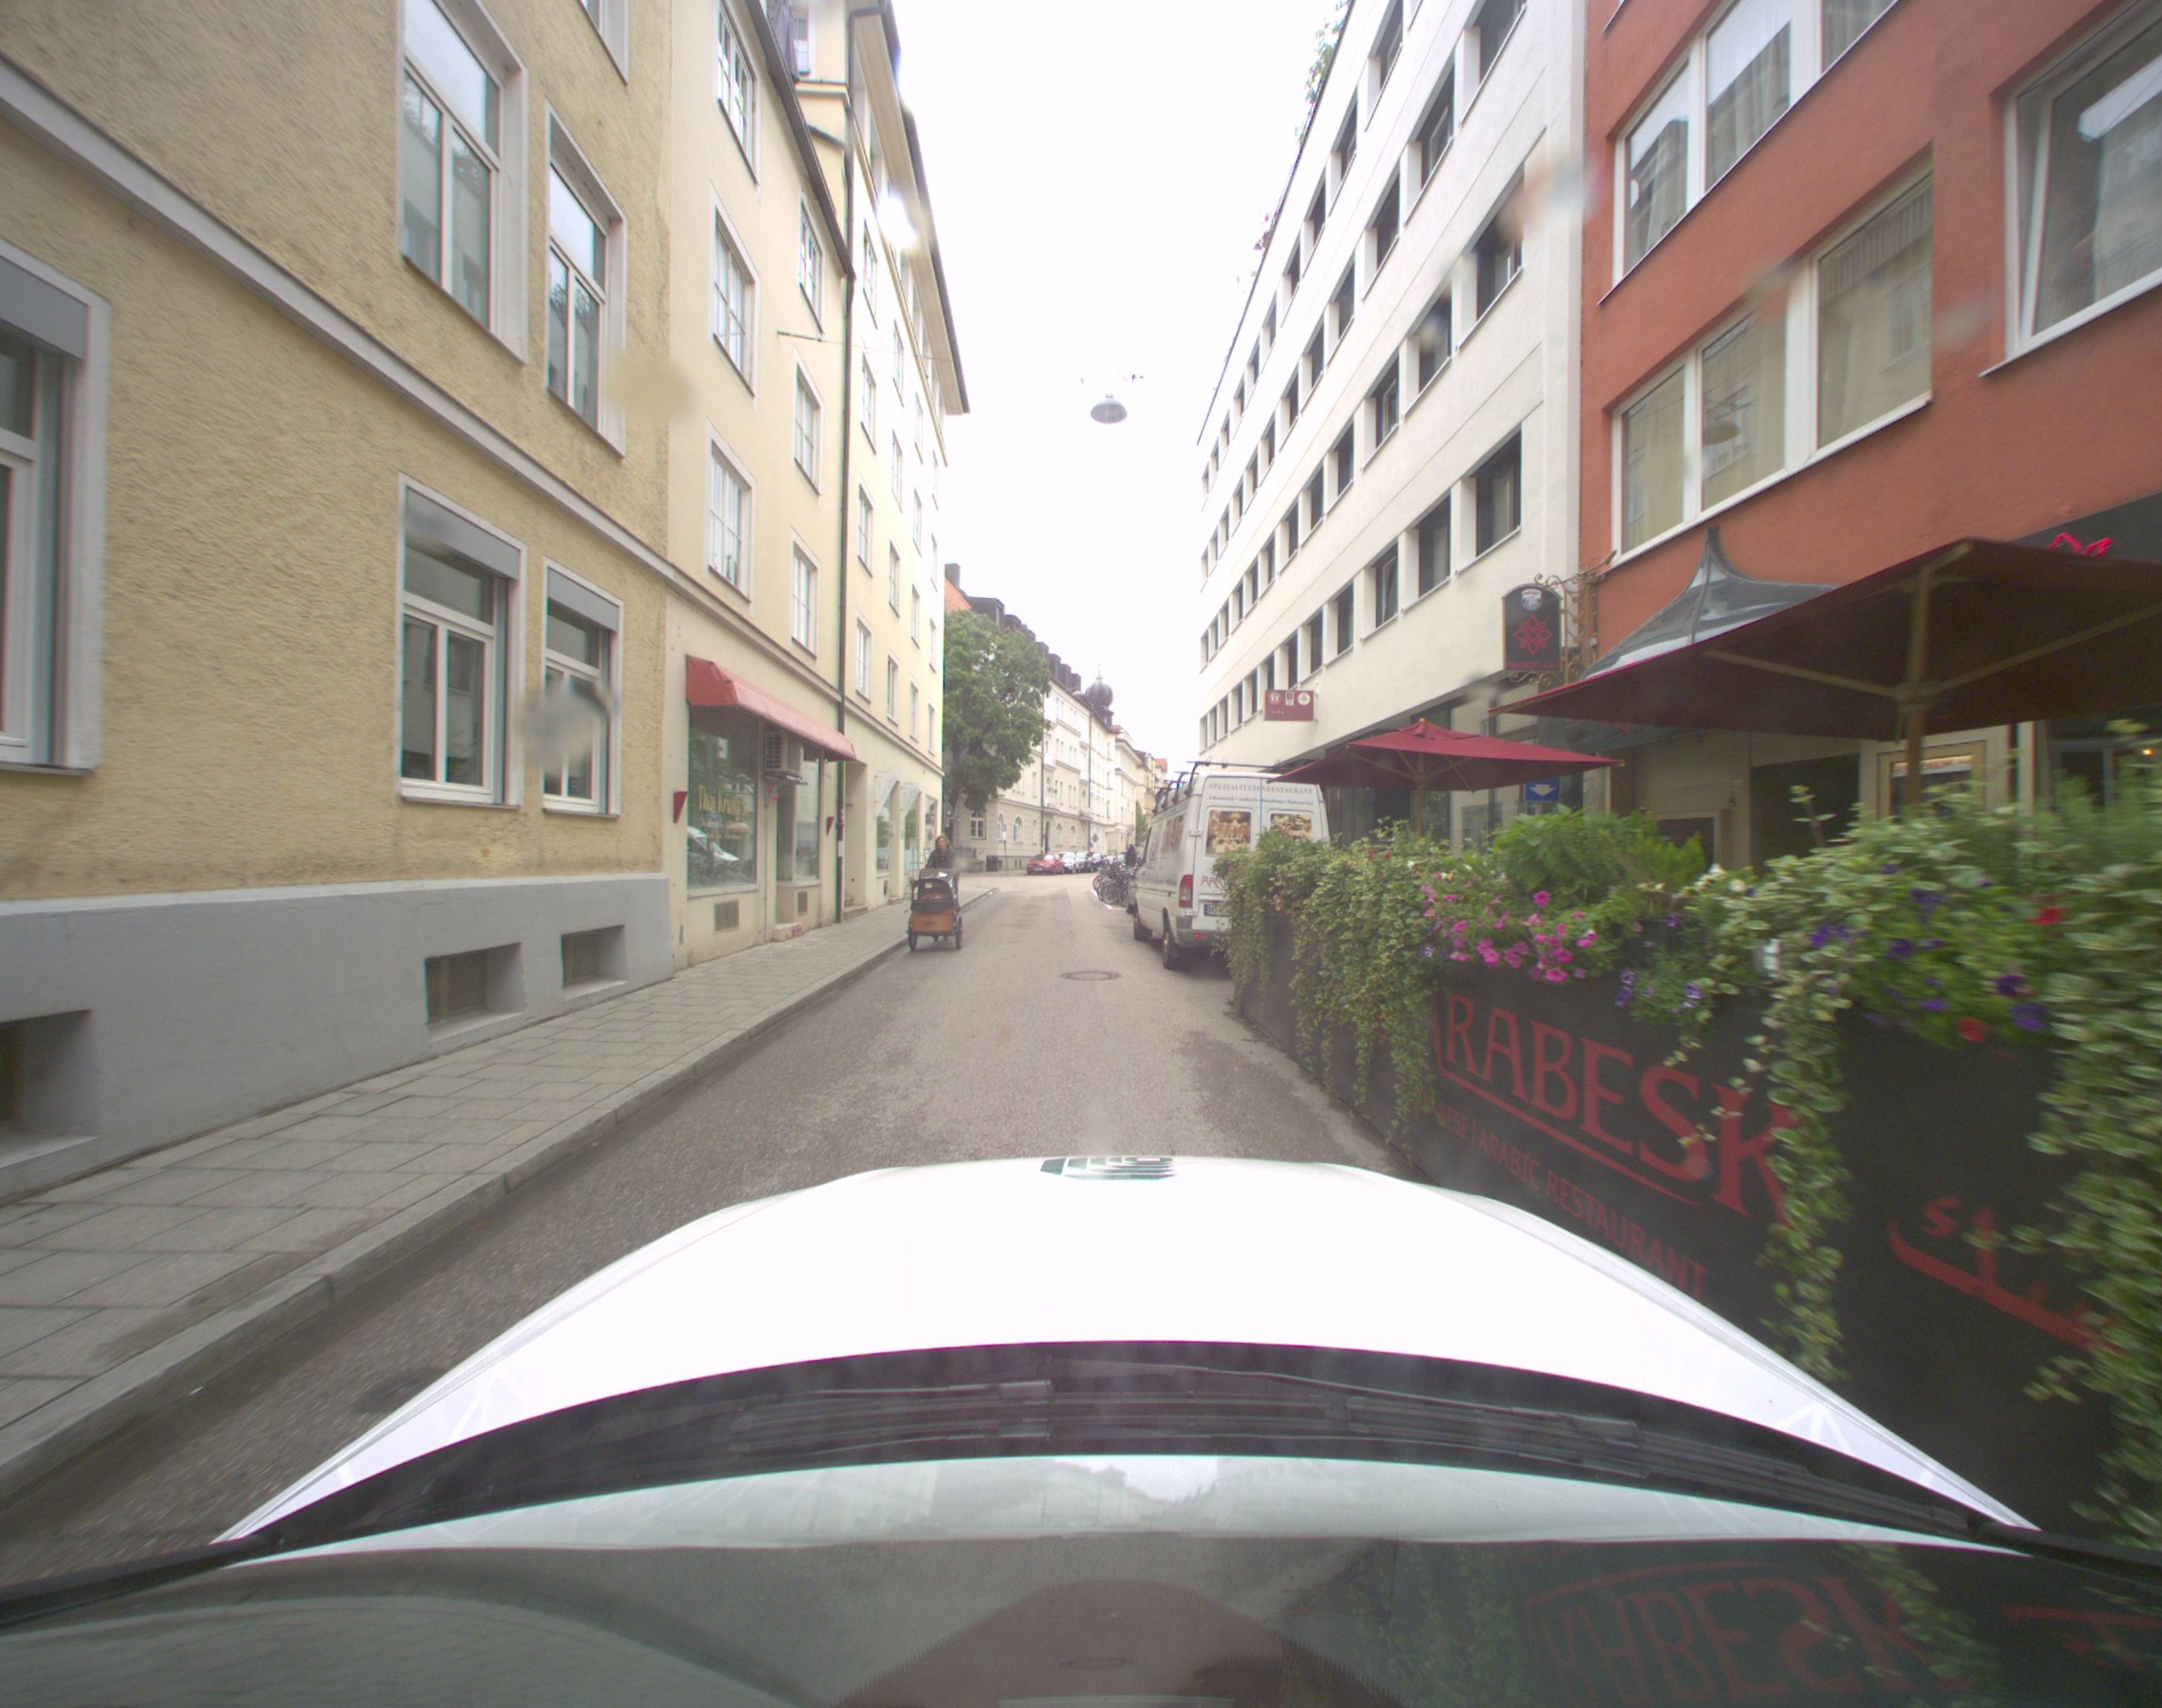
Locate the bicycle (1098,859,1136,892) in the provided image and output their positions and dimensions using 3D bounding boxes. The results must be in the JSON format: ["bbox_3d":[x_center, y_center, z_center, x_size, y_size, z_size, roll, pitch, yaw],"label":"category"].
[{"bbox_3d":[1.415,0.838,32.383,1.452,1.285,0.445,1,0,-1],"label":"bicycle"}]

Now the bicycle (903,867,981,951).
[{"bbox_3d":[-2.293,0.863,13.733,0.929,1.257,2.412,-1,-1,-1],"label":"bicycle"}]

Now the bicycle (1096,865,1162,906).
[{"bbox_3d":[1.411,0.932,23.954,1.870,1.108,0.488,2,1,-4],"label":"bicycle"}]

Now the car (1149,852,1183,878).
[{"bbox_3d":[5.828,0.710,55.573,1.808,1.636,4.303,3,0,12],"label":"car"}]

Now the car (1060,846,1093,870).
[{"bbox_3d":[-0.311,0.290,61.823,1.932,1.702,4.009,1,0,8],"label":"car"}]

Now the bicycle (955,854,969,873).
[{"bbox_3d":[-7.388,0.586,50.803,0.491,1.052,1.829,1,2,4],"label":"bicycle"}]

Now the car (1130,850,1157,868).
[{"bbox_3d":[5.778,0.465,75.099,1.945,1.607,4.322,0,0,11],"label":"car"}]

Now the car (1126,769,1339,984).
[{"bbox_3d":[1.974,0.264,12.695,1.916,2.506,5.991,2,0,-3],"label":"car"}]

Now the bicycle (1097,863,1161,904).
[{"bbox_3d":[1.424,0.878,24.475,1.870,1.204,0.488,1,1,-4],"label":"bicycle"}]

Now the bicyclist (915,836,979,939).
[{"bbox_3d":[-2.310,0.554,14.195,0.924,1.721,1.099,-1,0,-1],"label":"bicyclist"}]

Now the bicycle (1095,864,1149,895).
[{"bbox_3d":[1.450,0.904,28.901,1.871,1.079,0.407,1,1,-6],"label":"bicycle"}]

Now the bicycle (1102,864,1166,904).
[{"bbox_3d":[1.628,0.918,25.166,1.870,1.157,0.564,2,1,-4],"label":"bicycle"}]

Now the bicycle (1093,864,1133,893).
[{"bbox_3d":[1.236,0.950,31.367,1.451,1.069,0.462,1,0,-10],"label":"bicycle"}]

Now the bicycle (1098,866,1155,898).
[{"bbox_3d":[1.557,0.951,27.768,1.871,1.052,0.563,1,-2,-6],"label":"bicycle"}]

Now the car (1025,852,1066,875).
[{"bbox_3d":[-2.214,0.595,52.255,1.720,1.378,4.238,1,0,10],"label":"car"}]

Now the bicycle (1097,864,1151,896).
[{"bbox_3d":[1.499,0.894,28.464,1.871,1.079,0.402,1,1,-6],"label":"bicycle"}]

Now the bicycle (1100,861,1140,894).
[{"bbox_3d":[1.487,0.888,30.926,1.451,1.207,0.394,1,0,-10],"label":"bicycle"}]

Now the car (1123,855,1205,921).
[{"bbox_3d":[1.943,0.763,19.970,1.576,1.464,3.550,1,0,-1],"label":"car"}]

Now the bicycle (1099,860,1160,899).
[{"bbox_3d":[1.541,0.817,25.894,1.870,1.204,0.579,0,0,-4],"label":"bicycle"}]

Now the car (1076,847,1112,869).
[{"bbox_3d":[1.120,0.300,67.139,1.980,1.738,4.537,1,0,13],"label":"car"}]

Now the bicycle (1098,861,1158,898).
[{"bbox_3d":[1.525,0.821,26.503,1.890,1.170,0.565,0,0,-5],"label":"bicycle"}]

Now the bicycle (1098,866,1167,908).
[{"bbox_3d":[1.450,0.943,23.069,1.870,1.079,0.488,3,1,-4],"label":"bicycle"}]

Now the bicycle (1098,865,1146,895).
[{"bbox_3d":[1.521,0.967,30.143,1.737,1.079,0.451,1,1,-6],"label":"bicycle"}]

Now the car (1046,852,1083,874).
[{"bbox_3d":[-1.127,0.595,57.088,1.983,1.473,4.226,1,0,7],"label":"car"}]

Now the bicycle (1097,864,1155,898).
[{"bbox_3d":[1.480,0.880,27.063,1.871,1.095,0.439,1,1,-6],"label":"bicycle"}]
